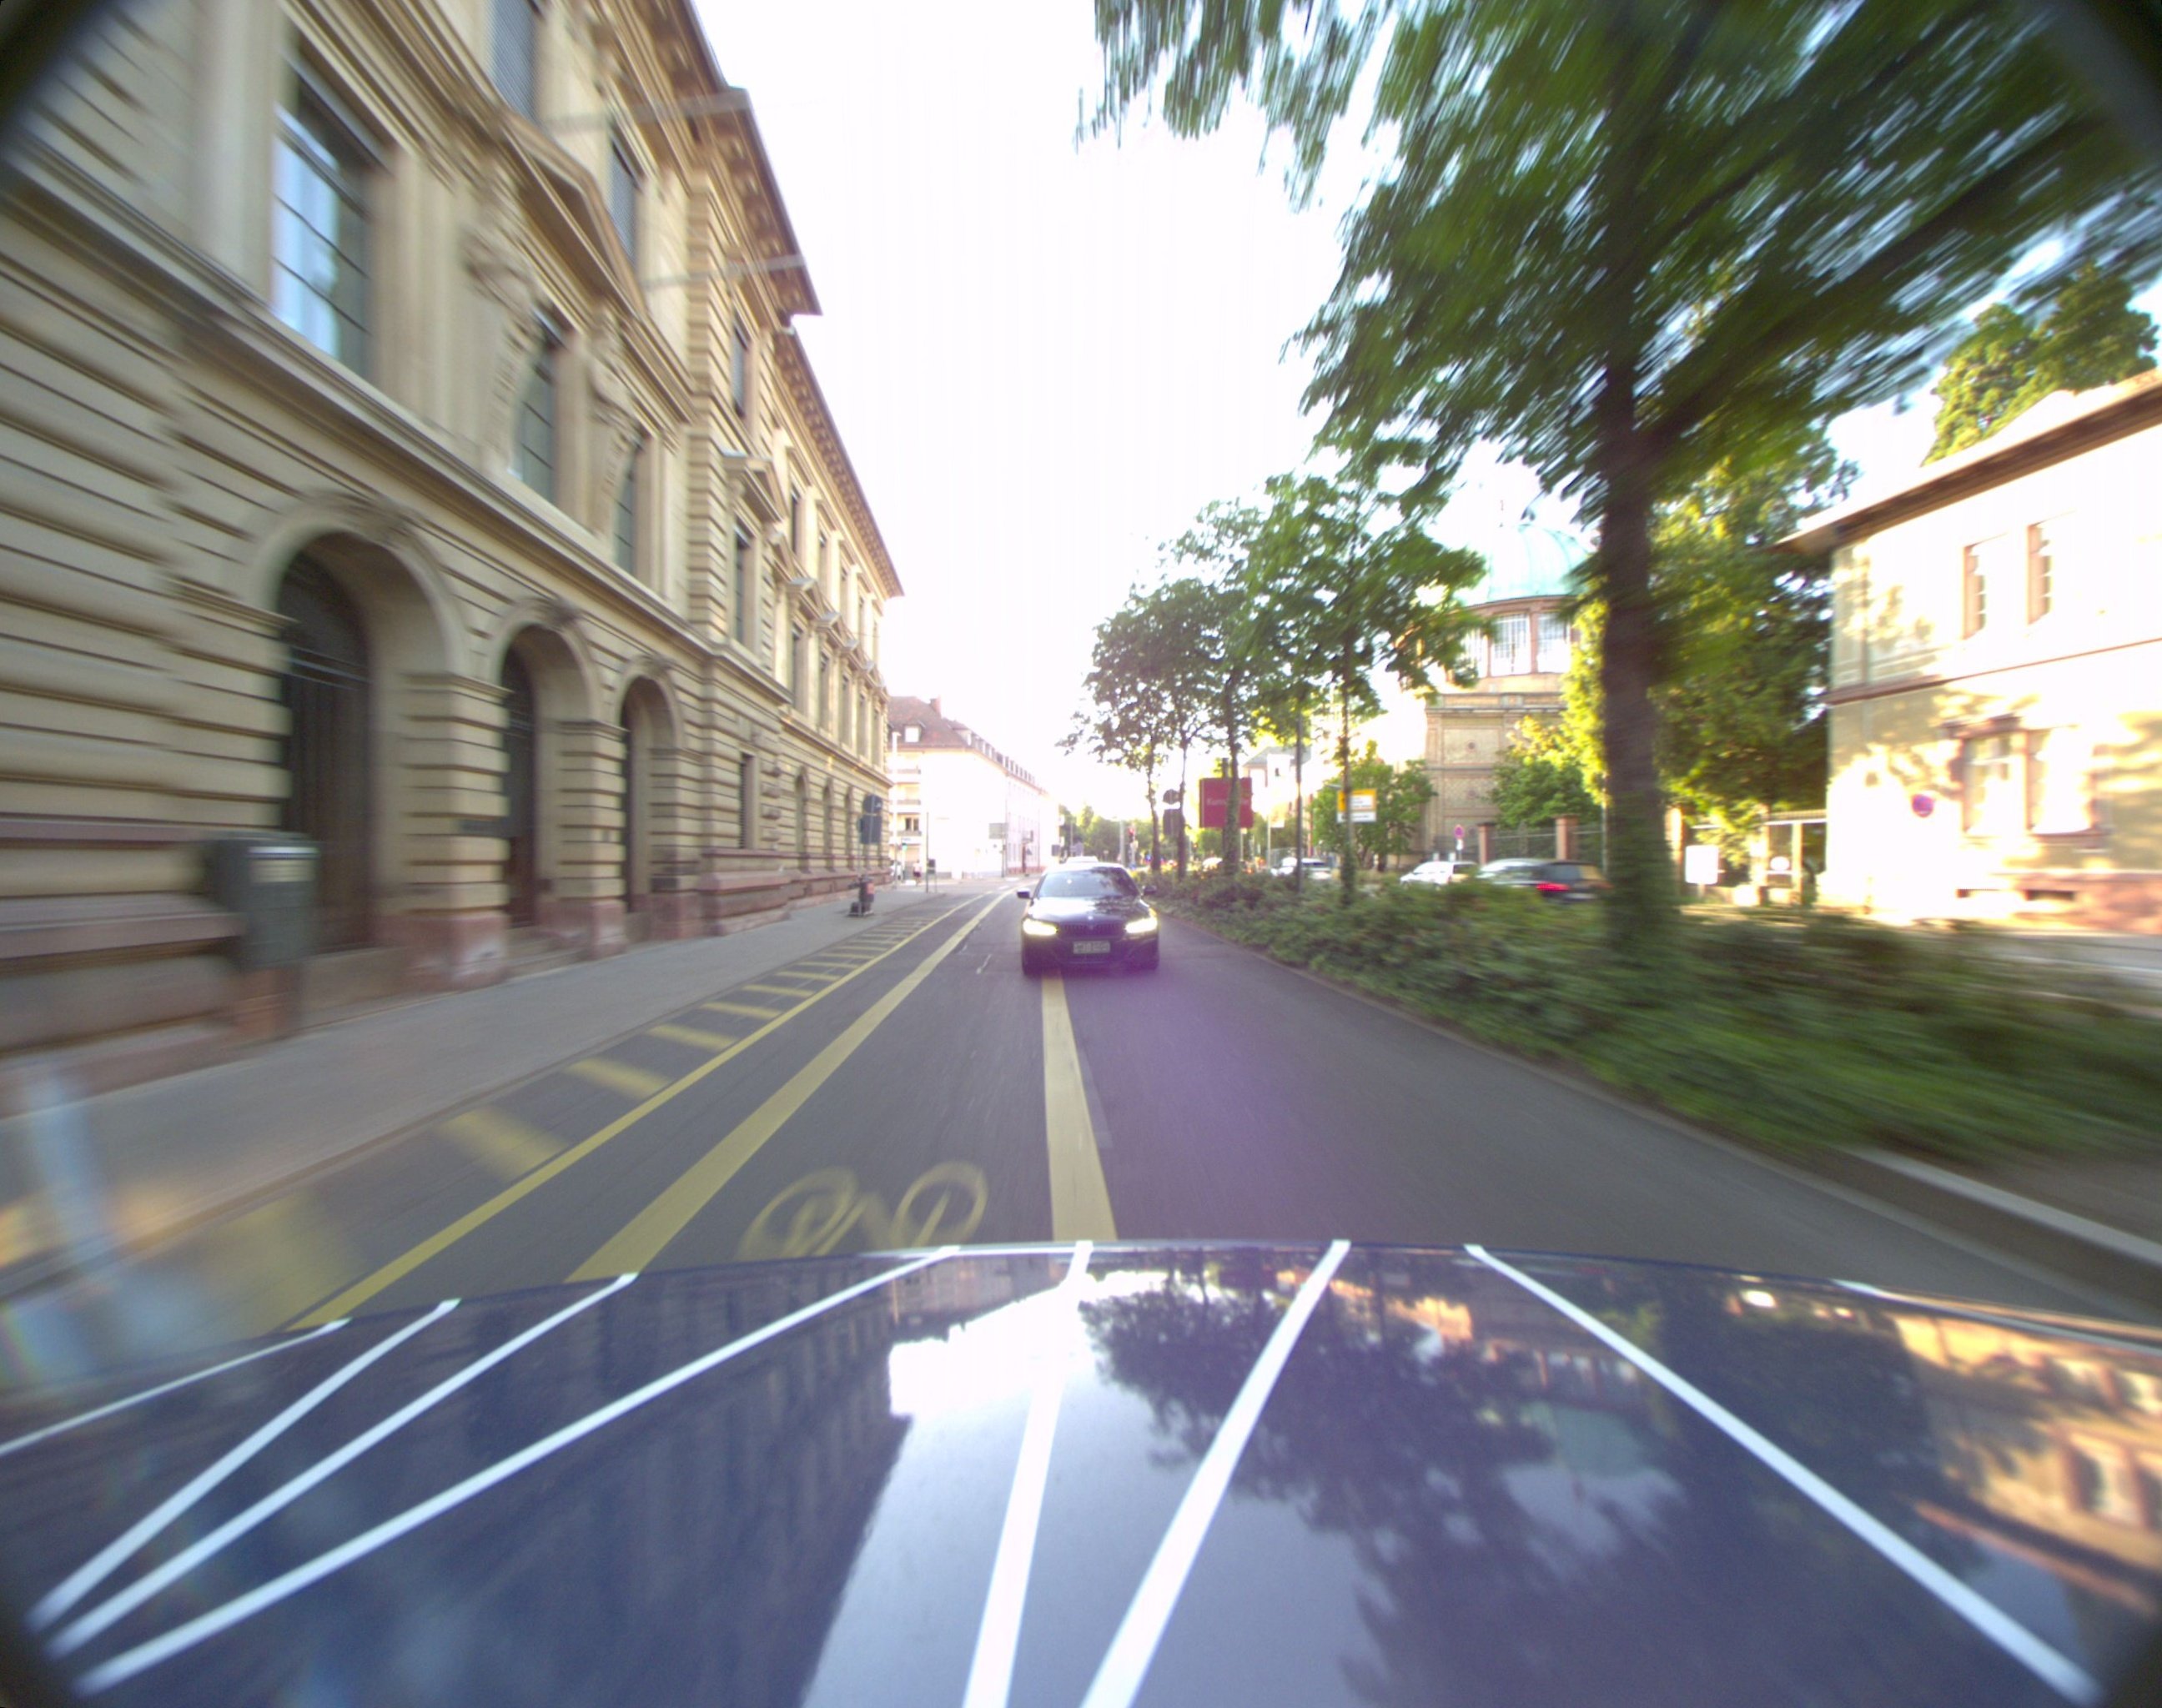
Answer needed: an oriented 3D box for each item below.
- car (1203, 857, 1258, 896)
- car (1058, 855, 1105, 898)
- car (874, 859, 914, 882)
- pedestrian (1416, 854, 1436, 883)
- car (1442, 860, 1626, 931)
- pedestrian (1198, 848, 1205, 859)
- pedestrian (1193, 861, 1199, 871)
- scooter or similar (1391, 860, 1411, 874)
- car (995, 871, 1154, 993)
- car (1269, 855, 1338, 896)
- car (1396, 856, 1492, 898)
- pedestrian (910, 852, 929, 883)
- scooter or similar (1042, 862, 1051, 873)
[{"bbox_3d":[6.290,0.898,32.342,1.849,1.538,4.120,0,0,5],"label":"car"},{"bbox_3d":[0.073,0.936,33.154,1.838,1.674,4.224,-2,0,1],"label":"car"},{"bbox_3d":[-14.966,1.283,61.129,1.998,1.739,4.476,0,0,2],"label":"car"},{"bbox_3d":[18.920,0.814,41.731,0.737,1.569,0.762,-1,0,-1],"label":"pedestrian"},{"bbox_3d":[10.962,0.930,18.794,1.848,1.542,4.173,1,0,-4],"label":"car"},{"bbox_3d":[19.112,-0.072,120.833,0.806,1.728,0.851,-1,0,30],"label":"pedestrian"},{"bbox_3d":[18.326,1.916,121.238,0.675,1.504,0.836,-4,-2,4],"label":"pedestrian"},{"bbox_3d":[17.677,0.725,41.972,0.679,0.773,1.028,0,0,-2],"label":"scooter or similar"},{"bbox_3d":[0.114,1.028,11.831,1.963,1.378,4.783,-1,0,5],"label":"car"},{"bbox_3d":[9.942,0.917,34.292,1.847,1.664,4.557,1,0,1],"label":"car"},{"bbox_3d":[15.106,0.904,31.900,1.749,1.538,4.368,-2,0,-3],"label":"car"},{"bbox_3d":[-10.679,0.877,50.124,0.786,2.002,0.996,-1,0,20],"label":"pedestrian"},{"bbox_3d":[-4.804,1.847,104.819,0.726,1.450,1.674,2,0,15],"label":"scooter or similar"}]
